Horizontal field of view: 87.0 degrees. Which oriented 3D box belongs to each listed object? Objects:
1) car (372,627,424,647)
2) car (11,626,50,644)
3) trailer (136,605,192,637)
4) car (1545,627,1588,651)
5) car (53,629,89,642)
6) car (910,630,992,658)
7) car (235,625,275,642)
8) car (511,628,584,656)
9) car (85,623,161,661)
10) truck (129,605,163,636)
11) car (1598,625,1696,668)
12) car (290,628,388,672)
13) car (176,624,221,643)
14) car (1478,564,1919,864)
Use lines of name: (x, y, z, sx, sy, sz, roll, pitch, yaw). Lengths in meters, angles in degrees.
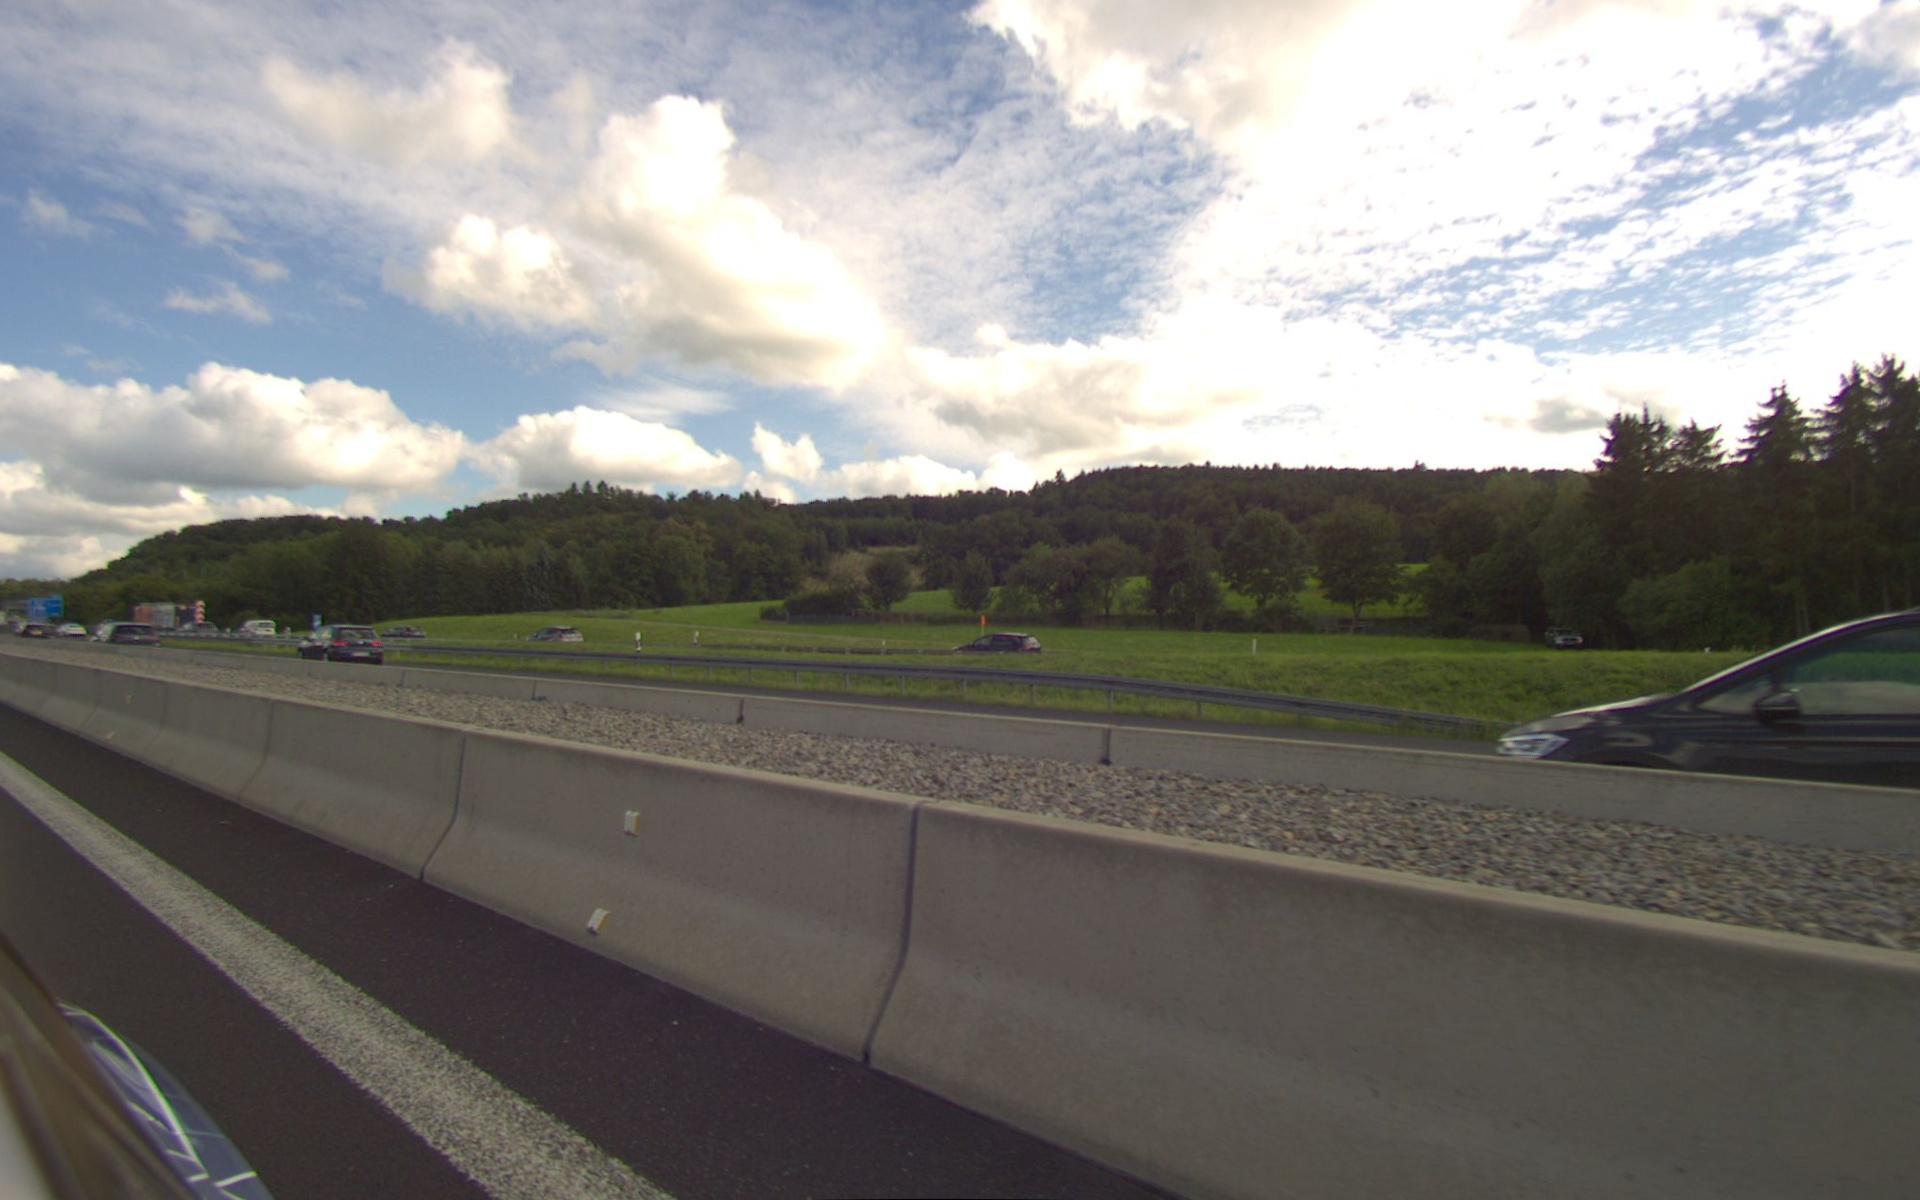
car: (-45.254, 2.963, 81.458, 4.880, 1.560, 1.756, -1, -3, 36)
car: (-74.776, 2.813, 81.385, 4.689, 1.412, 1.736, -1, -3, 41)
trailer: (-98.026, 2.526, 124.481, 13.222, 3.765, 1.975, -1, -3, 37)
car: (45.836, 2.920, 76.553, 1.985, 1.697, 3.974, -1, -1, 20)
car: (-96.281, 3.833, 109.595, 4.386, 1.411, 1.758, 0, -3, 33)
car: (-0.575, 2.627, 60.736, 4.880, 1.560, 1.756, -1, -3, 36)
car: (-69.557, 3.305, 99.838, 4.880, 1.560, 1.756, -1, -3, 36)
car: (-24.912, 2.532, 61.053, 4.880, 1.560, 1.756, -1, -3, 36)
car: (-32.235, 1.600, 38.952, 3.739, 1.409, 1.624, -1, -3, 41)
truck: (-103.390, 2.581, 128.544, 5.141, 3.790, 1.975, -1, -3, 37)
car: (34.600, 2.314, 50.973, 3.994, 2.029, 1.975, -1, -3, 37)
car: (-21.709, 1.711, 35.324, 4.156, 1.409, 1.709, -1, -3, 41)
car: (-67.222, 2.969, 89.331, 4.880, 1.560, 1.756, -1, -3, 36)
car: (5.427, 0.563, 5.125, 4.722, 1.409, 1.769, -1, -3, 41)
